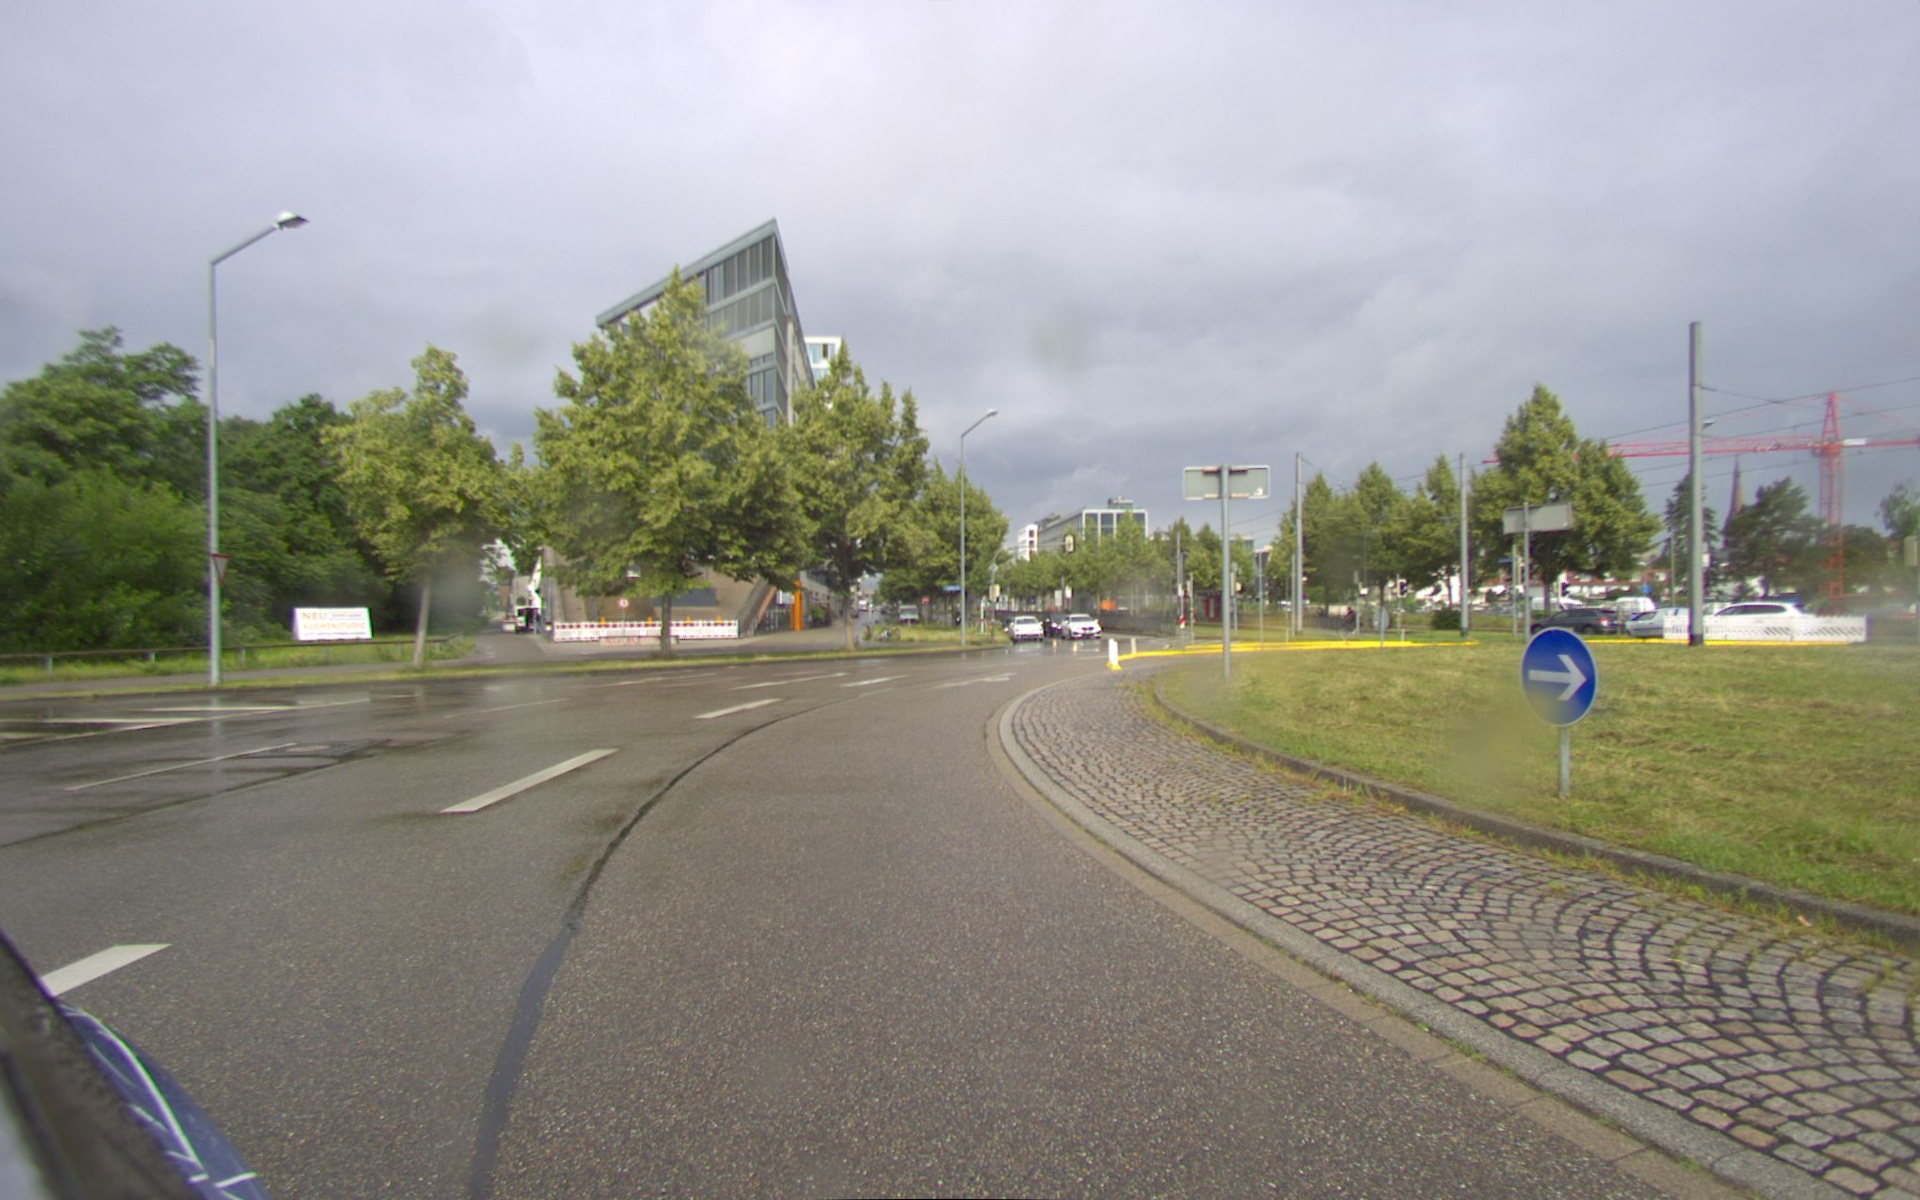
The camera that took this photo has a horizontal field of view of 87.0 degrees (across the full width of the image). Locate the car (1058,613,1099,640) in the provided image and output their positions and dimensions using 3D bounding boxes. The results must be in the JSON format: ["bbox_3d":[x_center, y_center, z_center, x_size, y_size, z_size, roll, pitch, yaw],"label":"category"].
[{"bbox_3d":[6.998,1.564,59.960,1.701,1.519,3.907,-1,-1,-3],"label":"car"}]

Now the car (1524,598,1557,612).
[{"bbox_3d":[67.348,0.547,117.454,1.527,1.572,3.504,-1,-1,-5],"label":"car"}]

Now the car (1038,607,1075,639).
[{"bbox_3d":[6.425,1.508,67.818,1.972,2.029,4.000,-1,0,-1],"label":"car"}]

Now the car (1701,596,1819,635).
[{"bbox_3d":[32.793,0.622,41.539,1.475,1.522,3.509,-1,0,-35],"label":"car"}]

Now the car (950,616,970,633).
[{"bbox_3d":[-0.059,2.583,107.122,1.839,1.758,4.089,-1,-2,-3],"label":"car"}]

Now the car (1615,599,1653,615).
[{"bbox_3d":[75.425,0.776,113.285,1.477,1.736,3.605,-1,-1,-7],"label":"car"}]

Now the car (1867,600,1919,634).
[{"bbox_3d":[49.271,0.864,51.861,1.969,1.696,4.005,0,0,-42],"label":"car"}]

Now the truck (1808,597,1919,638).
[{"bbox_3d":[55.460,0.986,61.846,2.366,2.228,6.094,0,2,4],"label":"truck"}]

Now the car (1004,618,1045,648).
[{"bbox_3d":[3.809,1.959,60.403,1.839,1.685,4.474,-1,-2,-3],"label":"car"}]

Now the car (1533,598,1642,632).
[{"bbox_3d":[29.736,0.710,48.075,1.772,1.528,4.012,-1,-1,-29],"label":"car"}]

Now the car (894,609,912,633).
[{"bbox_3d":[-5.907,2.167,104.874,1.839,2.377,4.474,-1,-2,-3],"label":"car"}]

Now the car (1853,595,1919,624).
[{"bbox_3d":[59.876,0.594,64.686,1.829,1.713,4.005,0,2,-5],"label":"car"}]

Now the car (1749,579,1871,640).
[{"bbox_3d":[37.820,0.406,45.108,1.771,2.587,4.003,0,-1,-44],"label":"car"}]
